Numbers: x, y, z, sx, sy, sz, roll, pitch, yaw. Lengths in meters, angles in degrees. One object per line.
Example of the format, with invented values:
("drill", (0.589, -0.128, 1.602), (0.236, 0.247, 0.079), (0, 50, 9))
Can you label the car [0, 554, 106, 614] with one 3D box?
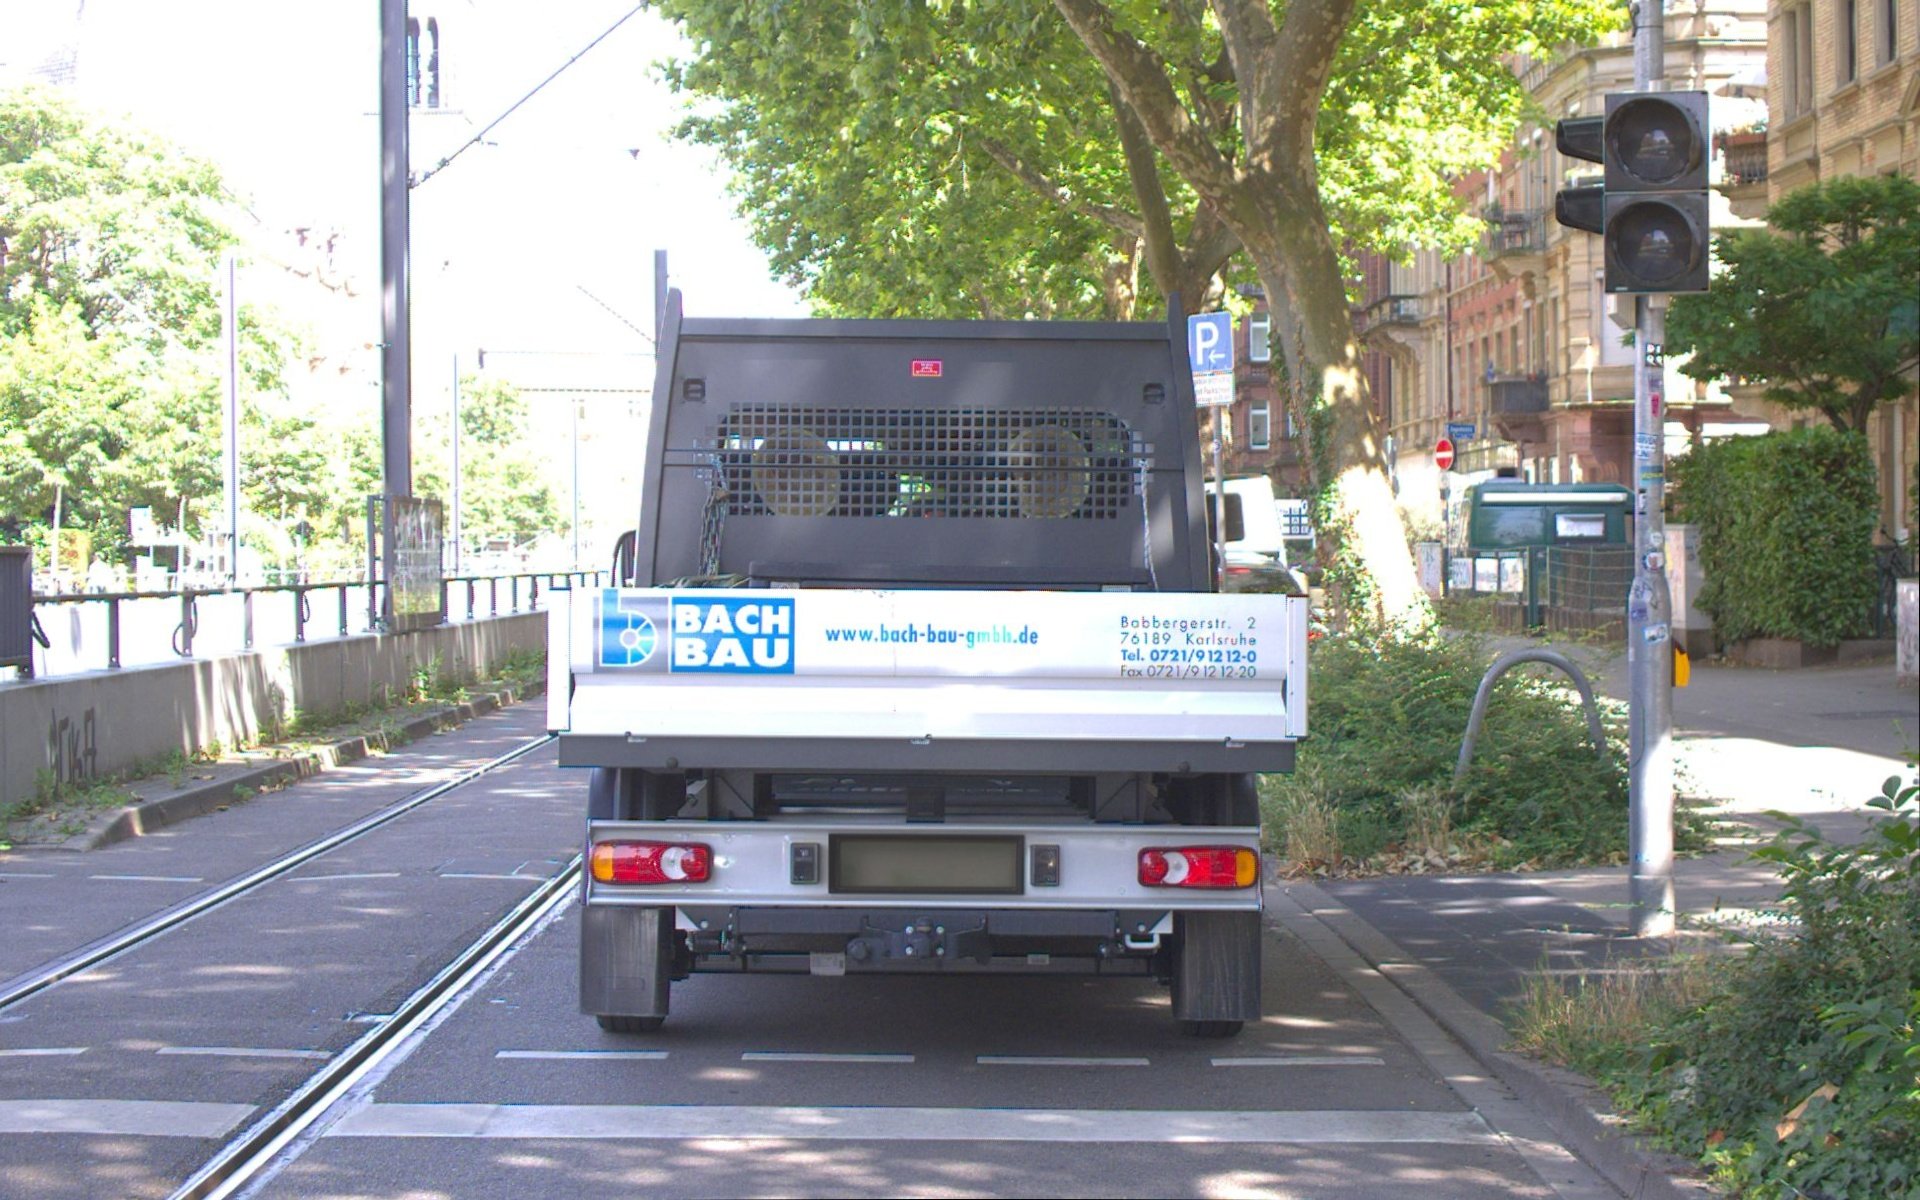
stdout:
("car", (-23.426, -0.437, 88.933), (1.770, 1.493, 4.000), (0, 1, -2))

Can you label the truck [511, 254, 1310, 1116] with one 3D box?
("truck", (-0.156, 0.197, 11.460), (2.138, 2.311, 4.402), (0, 1, -1))

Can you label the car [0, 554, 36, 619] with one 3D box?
("car", (-23.183, -0.326, 81.096), (1.770, 1.493, 4.000), (0, 1, -2))
